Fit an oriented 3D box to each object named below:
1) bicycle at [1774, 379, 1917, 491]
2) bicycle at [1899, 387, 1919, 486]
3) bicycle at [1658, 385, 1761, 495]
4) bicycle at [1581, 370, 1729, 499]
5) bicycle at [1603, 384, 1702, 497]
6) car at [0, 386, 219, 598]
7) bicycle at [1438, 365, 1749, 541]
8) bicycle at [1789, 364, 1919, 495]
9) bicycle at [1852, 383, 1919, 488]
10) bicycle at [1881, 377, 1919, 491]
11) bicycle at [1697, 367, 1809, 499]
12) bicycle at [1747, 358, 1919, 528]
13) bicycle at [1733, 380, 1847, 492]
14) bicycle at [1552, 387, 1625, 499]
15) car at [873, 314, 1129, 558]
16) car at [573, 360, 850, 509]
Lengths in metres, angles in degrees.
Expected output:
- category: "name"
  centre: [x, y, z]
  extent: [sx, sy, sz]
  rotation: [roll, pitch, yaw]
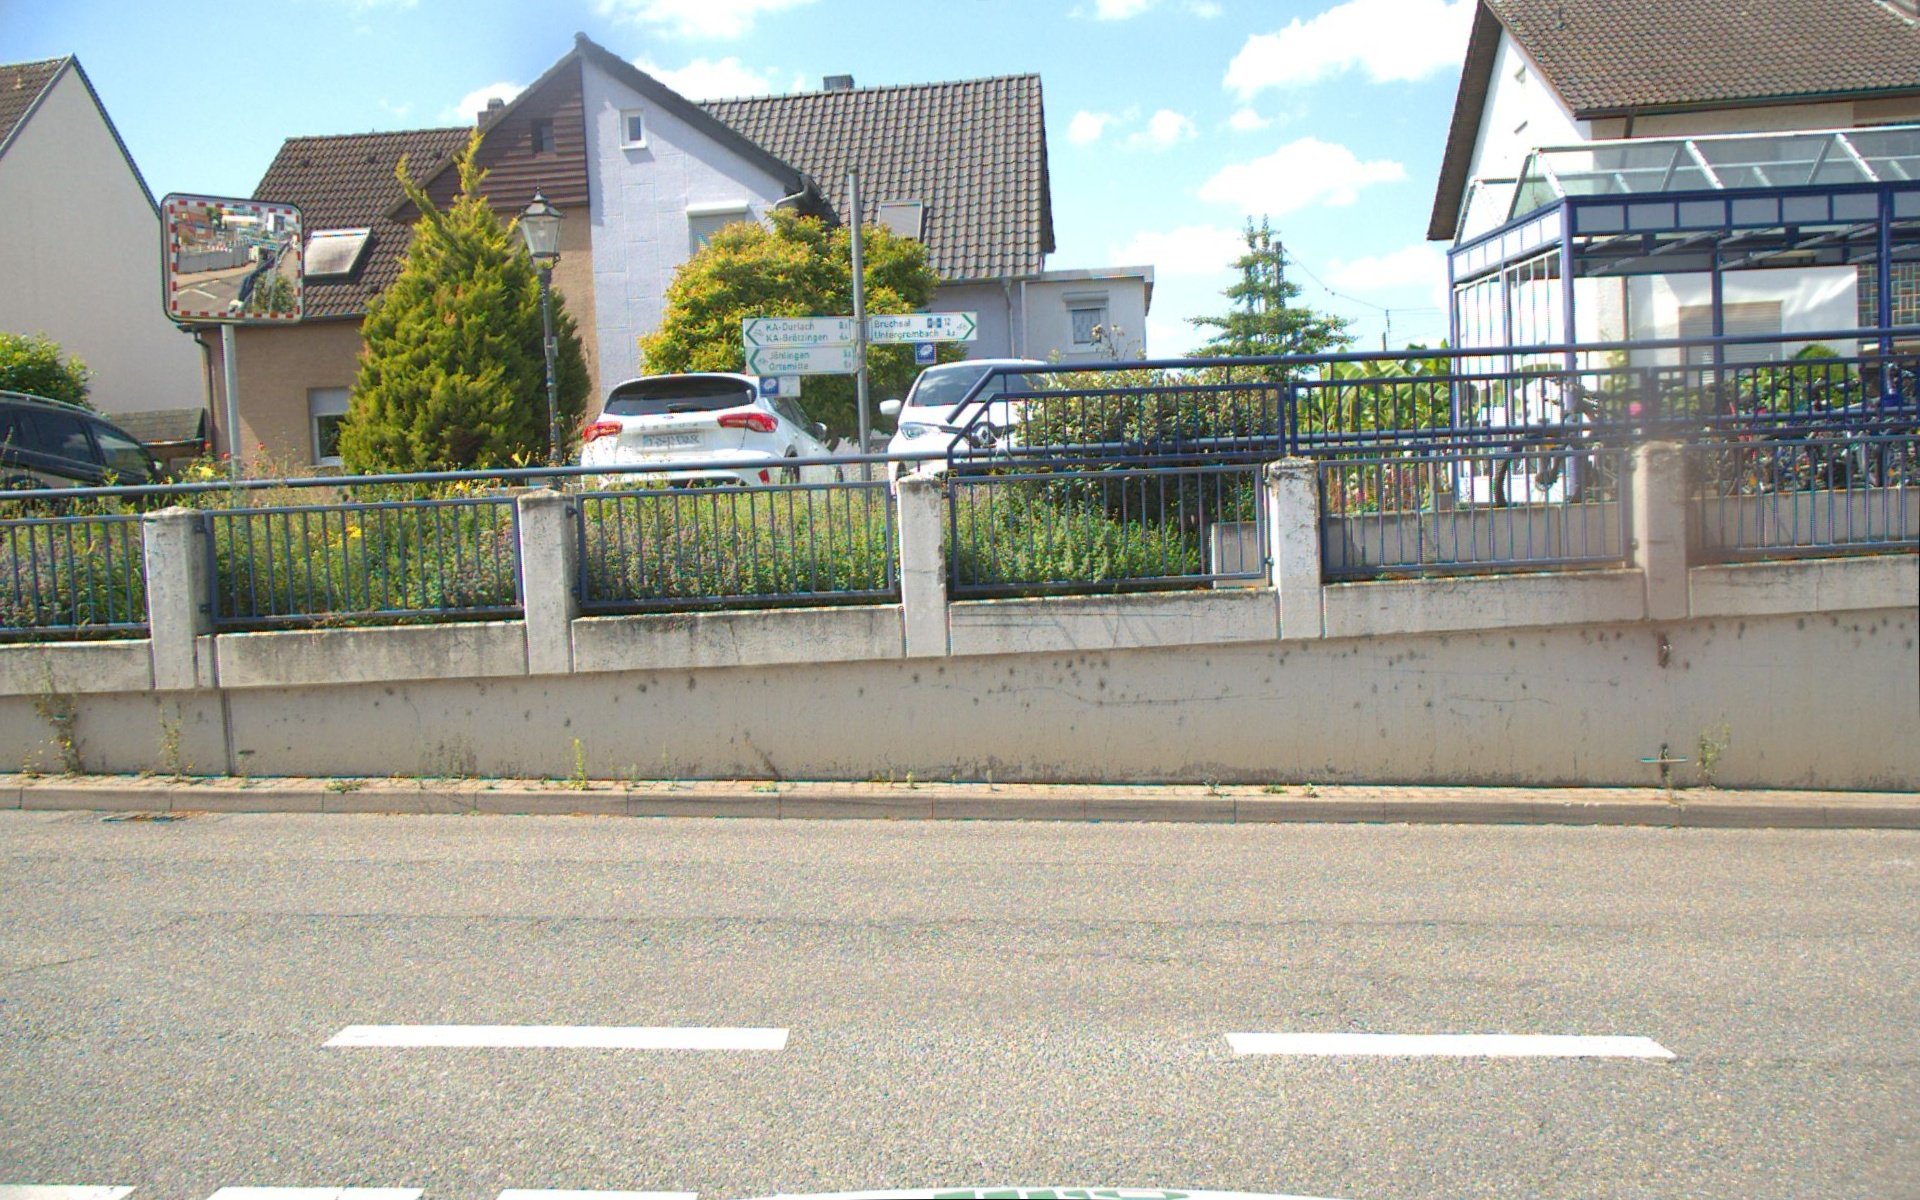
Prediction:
- category: "bicycle"
  centre: [8.846, -1.625, 16.601]
  extent: [0.417, 1.012, 1.967]
  rotation: [-2, 3, 1]
- category: "bicycle"
  centre: [10.144, -1.668, 16.483]
  extent: [0.405, 1.012, 1.966]
  rotation: [-2, 3, -2]
- category: "bicycle"
  centre: [7.504, -1.575, 16.627]
  extent: [0.365, 1.012, 1.968]
  rotation: [-2, 3, 7]
- category: "bicycle"
  centre: [6.011, -1.403, 14.421]
  extent: [0.325, 1.012, 2.075]
  rotation: [-2, 3, -2]
- category: "bicycle"
  centre: [6.764, -1.526, 16.219]
  extent: [0.365, 1.012, 1.968]
  rotation: [-2, 3, 7]
- category: "car"
  centre: [-9.064, -0.978, 15.932]
  extent: [1.828, 1.828, 4.002]
  rotation: [1, 1, 4]
- category: "bicycle"
  centre: [4.438, -1.028, 11.610]
  extent: [2.072, 1.145, 0.333]
  rotation: [-2, 3, -3]
- category: "bicycle"
  centre: [7.677, -1.419, 14.175]
  extent: [0.426, 1.012, 2.105]
  rotation: [-1, 3, 10]
- category: "bicycle"
  centre: [9.677, -1.650, 16.485]
  extent: [0.464, 1.012, 1.966]
  rotation: [-2, 3, -2]
- category: "bicycle"
  centre: [8.769, -1.474, 14.431]
  extent: [0.426, 1.012, 2.283]
  rotation: [-2, 3, 6]
- category: "bicycle"
  centre: [6.674, -1.372, 13.990]
  extent: [0.426, 1.012, 2.105]
  rotation: [-1, 3, 14]
- category: "bicycle"
  centre: [6.696, -1.120, 11.726]
  extent: [2.072, 1.145, 0.392]
  rotation: [-2, 3, -3]
- category: "bicycle"
  centre: [8.220, -1.593, 16.440]
  extent: [0.365, 1.012, 1.968]
  rotation: [-2, 3, 7]
- category: "bicycle"
  centre: [6.086, -1.492, 16.070]
  extent: [0.445, 1.012, 1.890]
  rotation: [-1, 3, 15]
- category: "car"
  centre: [0.447, -1.332, 14.940]
  extent: [1.952, 1.828, 4.199]
  rotation: [1, 1, 4]
- category: "car"
  centre: [-2.127, -1.433, 15.070]
  extent: [1.786, 1.037, 3.461]
  rotation: [1, 1, 4]
